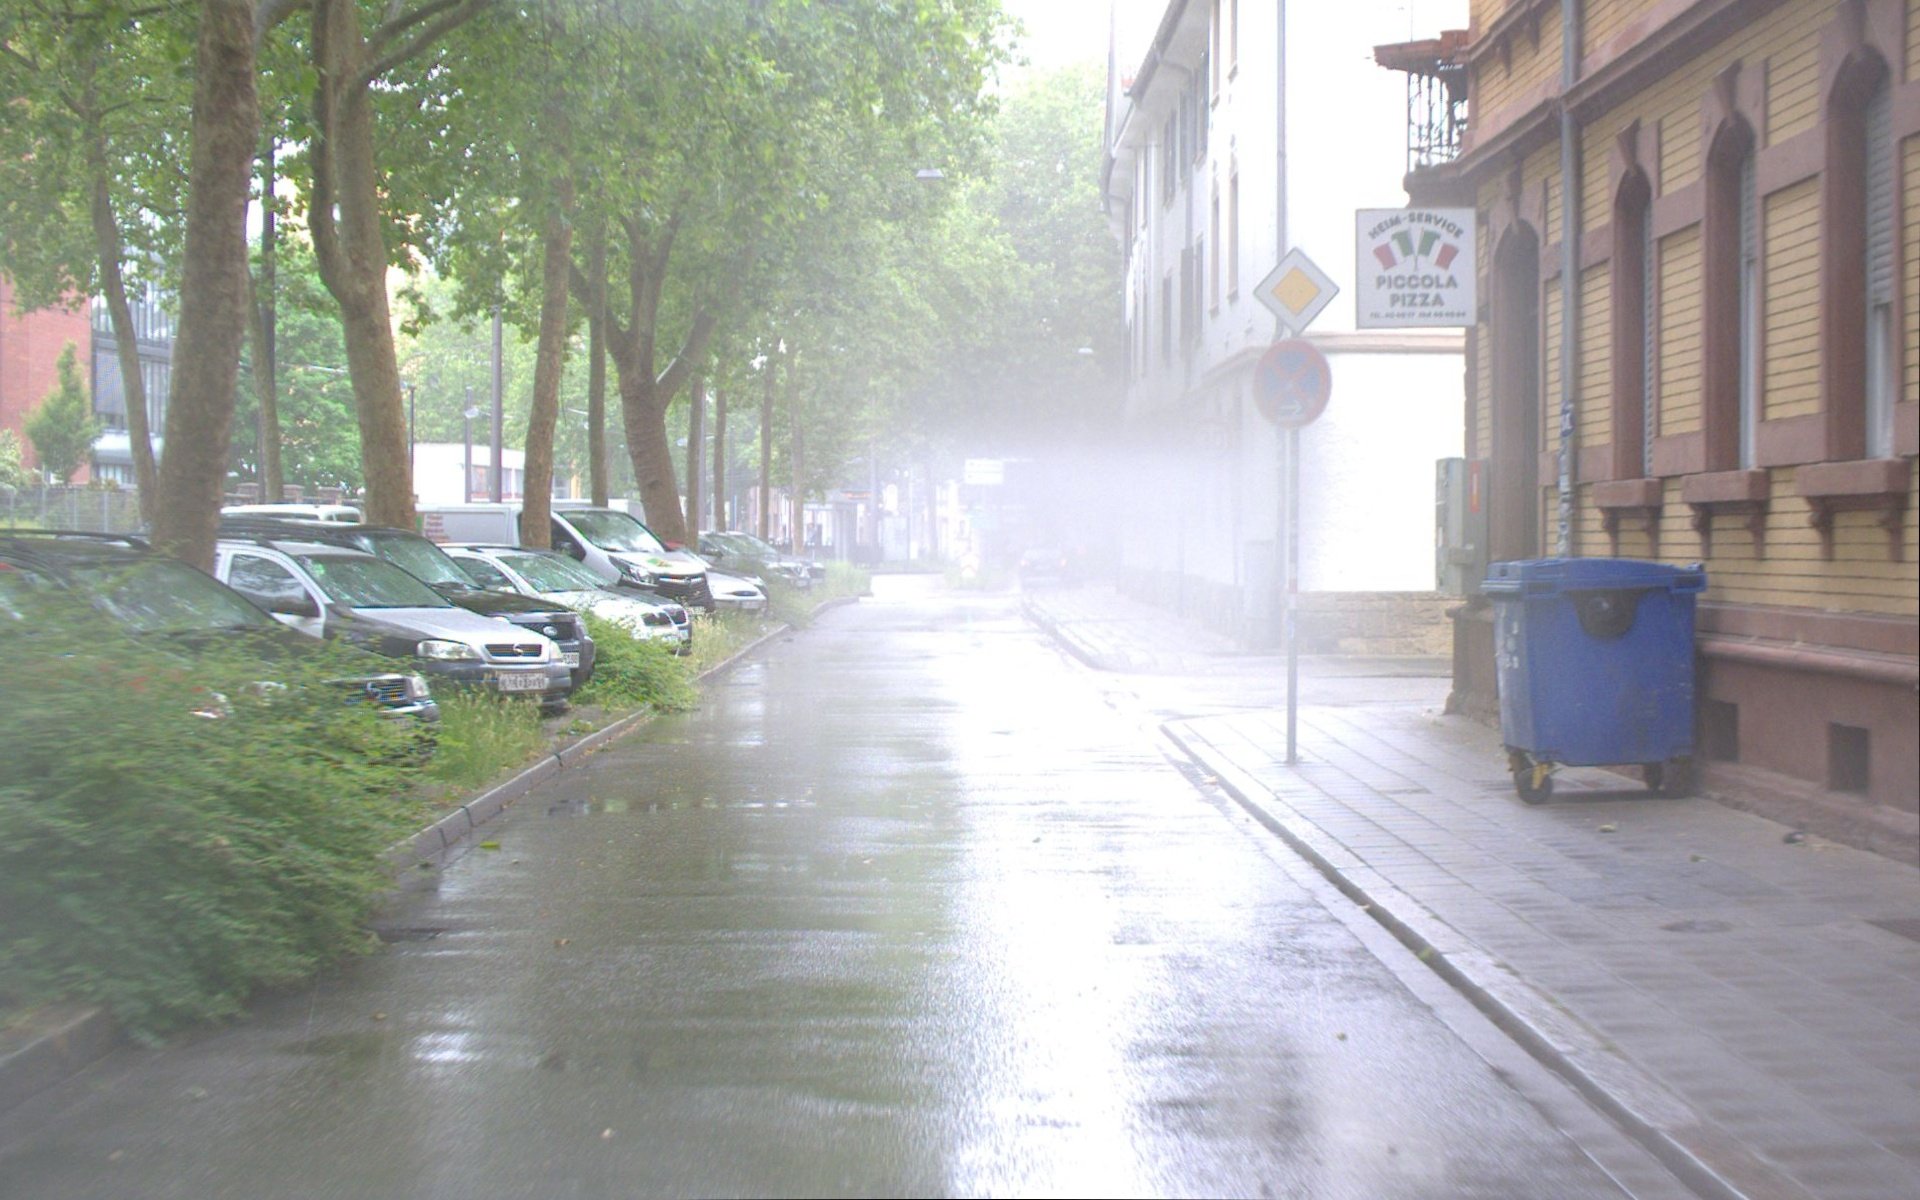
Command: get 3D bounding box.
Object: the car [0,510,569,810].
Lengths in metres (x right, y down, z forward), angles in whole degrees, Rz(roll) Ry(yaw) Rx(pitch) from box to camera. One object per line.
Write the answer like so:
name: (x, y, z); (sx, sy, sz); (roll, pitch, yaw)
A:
car: (-4.464, 0.265, 19.418); (4.223, 1.474, 1.741); (2, 2, 27)

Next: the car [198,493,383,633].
car: (-10.036, -0.608, 51.895); (2.037, 1.993, 5.160); (1, 2, -3)

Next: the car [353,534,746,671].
car: (-4.802, -0.006, 40.137); (4.308, 1.432, 1.745); (2, 2, 27)

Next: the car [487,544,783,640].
car: (-5.261, -0.129, 55.497); (4.553, 1.477, 1.772); (0, 1, 30)

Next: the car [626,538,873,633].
car: (-3.531, -0.240, 57.571); (3.812, 1.516, 1.719); (0, 1, 31)

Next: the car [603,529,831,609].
car: (-5.148, -0.685, 72.721); (4.464, 1.591, 1.920); (1, 2, 26)

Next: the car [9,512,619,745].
car: (-4.961, 0.215, 26.244); (4.411, 1.640, 1.869); (-1, 1, 31)

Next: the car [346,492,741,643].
car: (-5.721, -0.442, 47.073); (5.124, 1.970, 2.099); (0, 1, 31)

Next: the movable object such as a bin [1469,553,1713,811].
movable object such as a bin: (3.471, 0.428, 19.039); (1.021, 1.297, 1.367); (-3, 2, -1)

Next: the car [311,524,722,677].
car: (-4.772, -0.029, 36.961); (4.061, 1.494, 1.745); (2, 2, 24)

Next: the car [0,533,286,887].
car: (-5.212, 0.424, 16.456); (3.648, 1.474, 1.741); (2, 2, 30)

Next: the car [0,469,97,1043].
car: (-4.593, 0.370, 9.684); (4.059, 1.532, 1.832); (2, 2, 30)

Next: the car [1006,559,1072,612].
car: (2.563, -0.482, 113.022); (1.993, 1.634, 4.000); (1, 1, -1)

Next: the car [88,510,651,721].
car: (-4.987, 0.086, 28.966); (4.410, 1.654, 1.927); (0, 2, 28)
